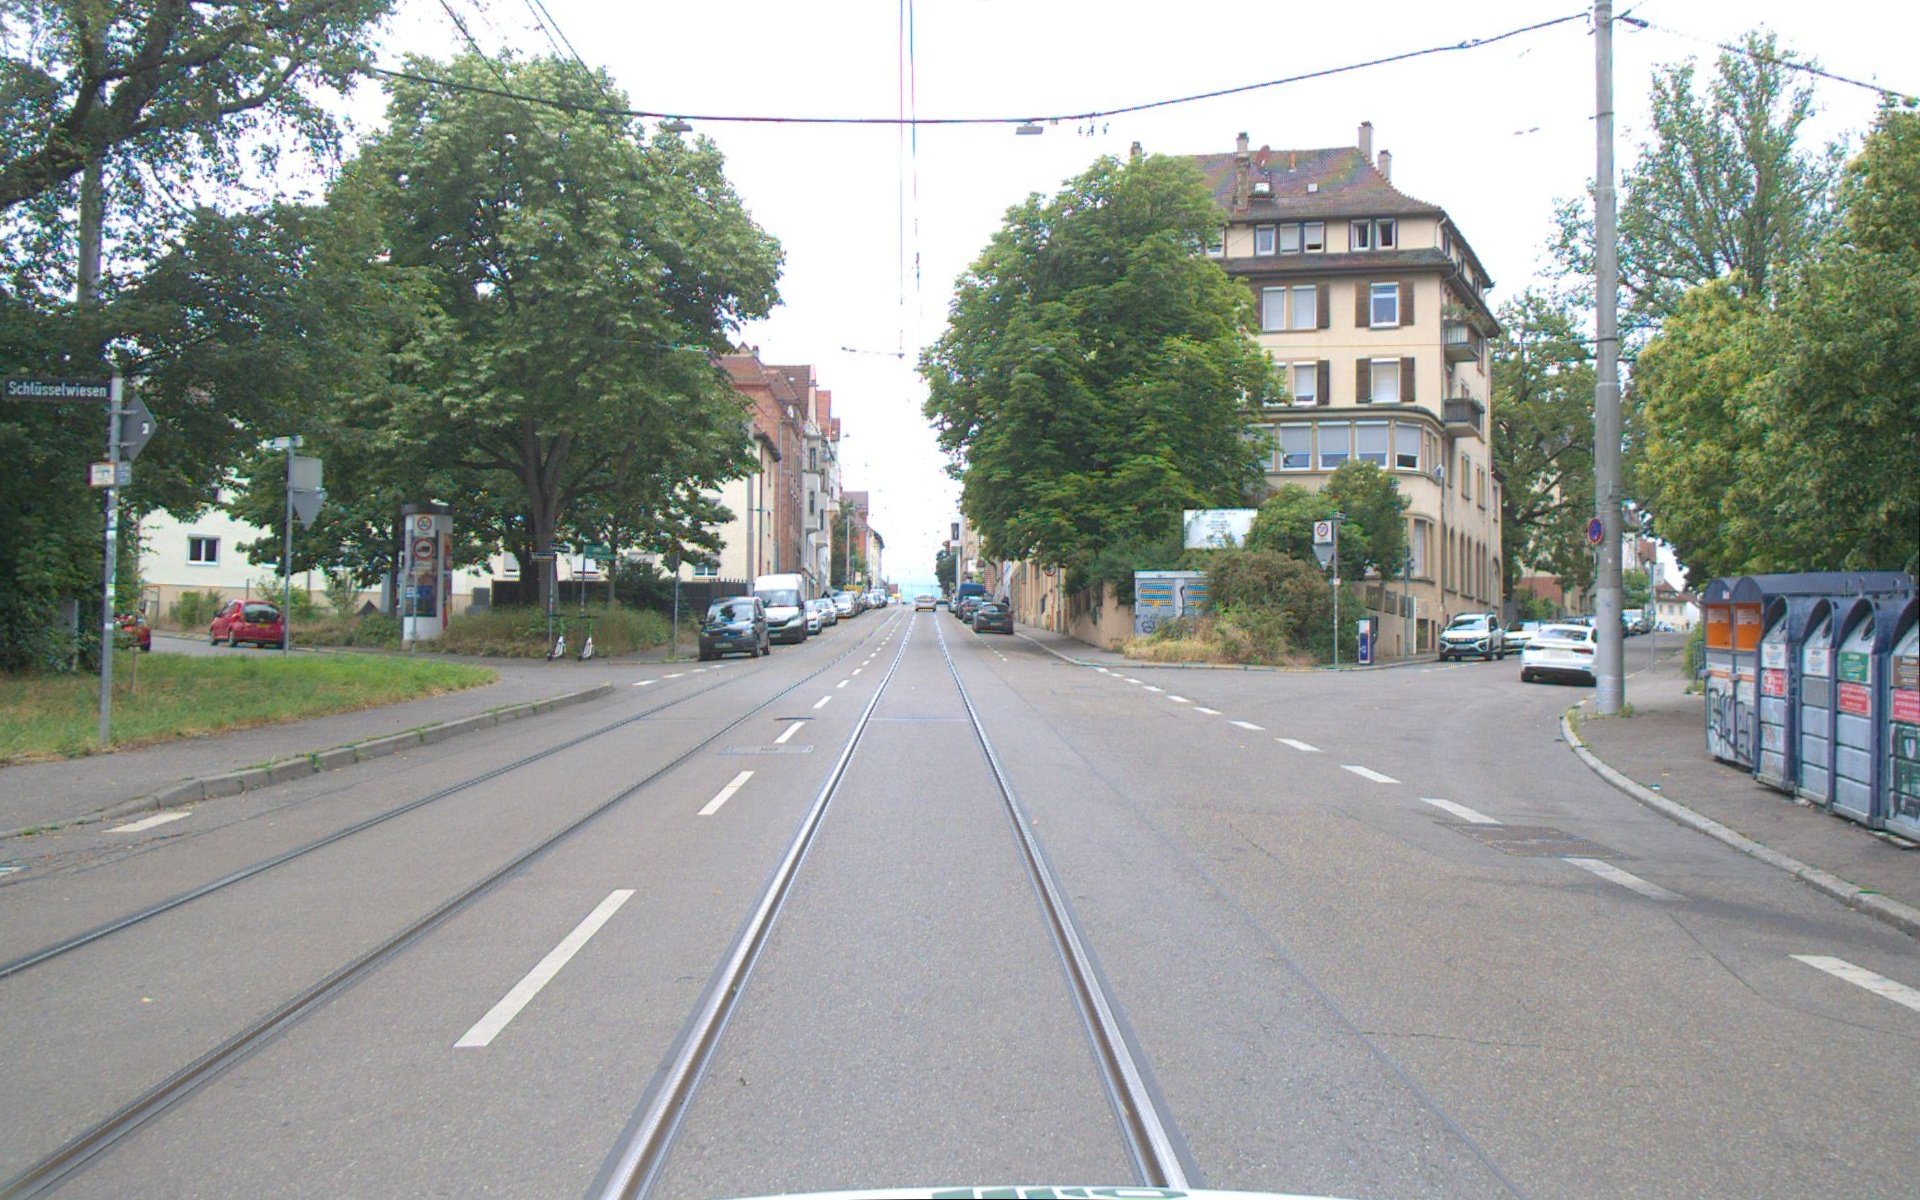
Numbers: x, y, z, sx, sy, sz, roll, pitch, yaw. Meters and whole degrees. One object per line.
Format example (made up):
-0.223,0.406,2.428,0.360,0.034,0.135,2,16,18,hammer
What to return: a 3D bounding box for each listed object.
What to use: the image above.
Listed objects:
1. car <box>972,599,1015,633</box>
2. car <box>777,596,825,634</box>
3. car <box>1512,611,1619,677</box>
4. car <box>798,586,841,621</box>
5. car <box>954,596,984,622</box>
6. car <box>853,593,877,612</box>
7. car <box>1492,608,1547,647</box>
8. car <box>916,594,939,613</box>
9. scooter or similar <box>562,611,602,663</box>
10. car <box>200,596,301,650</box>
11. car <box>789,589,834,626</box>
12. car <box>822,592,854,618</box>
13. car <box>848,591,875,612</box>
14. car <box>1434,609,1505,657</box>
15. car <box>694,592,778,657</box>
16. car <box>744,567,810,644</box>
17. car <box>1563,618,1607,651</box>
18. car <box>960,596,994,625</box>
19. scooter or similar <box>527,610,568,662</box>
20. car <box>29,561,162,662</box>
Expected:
1.577,0.760,79.070,1.953,1.557,4.311,1,-1,0,car
-7.136,0.685,74.588,1.954,1.628,4.309,1,-1,-3,car
14.871,1.053,40.484,1.955,1.505,4.458,1,-1,27,car
-7.735,0.199,91.537,1.953,1.843,4.312,1,-1,0,car
0.576,0.616,112.179,1.953,1.680,3.999,0,-1,-1,car
-8.451,0.195,147.612,1.953,1.629,3.998,1,-1,-2,car
24.527,1.206,72.396,1.953,1.646,3.998,1,-1,24,car
-2.877,0.314,144.988,1.953,1.525,4.310,1,-1,-2,car
-10.167,0.983,44.557,0.677,1.362,1.638,1,-1,0,scooter or similar
-22.339,0.713,51.999,1.979,1.624,3.946,1,-1,-38,car
-7.683,0.395,85.940,1.953,1.843,4.312,1,-1,0,car
-7.951,0.349,108.093,1.885,1.629,3.999,1,-1,-1,car
-7.817,0.124,131.453,1.953,1.629,3.998,1,-1,-2,car
17.992,1.152,58.288,1.953,1.579,3.998,1,-1,24,car
-6.683,0.739,49.756,1.953,1.840,4.000,1,-1,0,car
-7.066,0.236,64.277,2.186,2.813,5.795,1,-1,-3,car
32.891,1.808,86.941,1.953,1.646,3.998,1,-1,24,car
0.998,0.630,99.440,1.953,1.747,3.999,0,-1,-1,car
-11.102,0.966,44.541,0.677,1.362,1.638,1,-1,0,scooter or similar
-15.643,0.219,29.870,1.972,1.691,3.961,1,-1,-29,car
